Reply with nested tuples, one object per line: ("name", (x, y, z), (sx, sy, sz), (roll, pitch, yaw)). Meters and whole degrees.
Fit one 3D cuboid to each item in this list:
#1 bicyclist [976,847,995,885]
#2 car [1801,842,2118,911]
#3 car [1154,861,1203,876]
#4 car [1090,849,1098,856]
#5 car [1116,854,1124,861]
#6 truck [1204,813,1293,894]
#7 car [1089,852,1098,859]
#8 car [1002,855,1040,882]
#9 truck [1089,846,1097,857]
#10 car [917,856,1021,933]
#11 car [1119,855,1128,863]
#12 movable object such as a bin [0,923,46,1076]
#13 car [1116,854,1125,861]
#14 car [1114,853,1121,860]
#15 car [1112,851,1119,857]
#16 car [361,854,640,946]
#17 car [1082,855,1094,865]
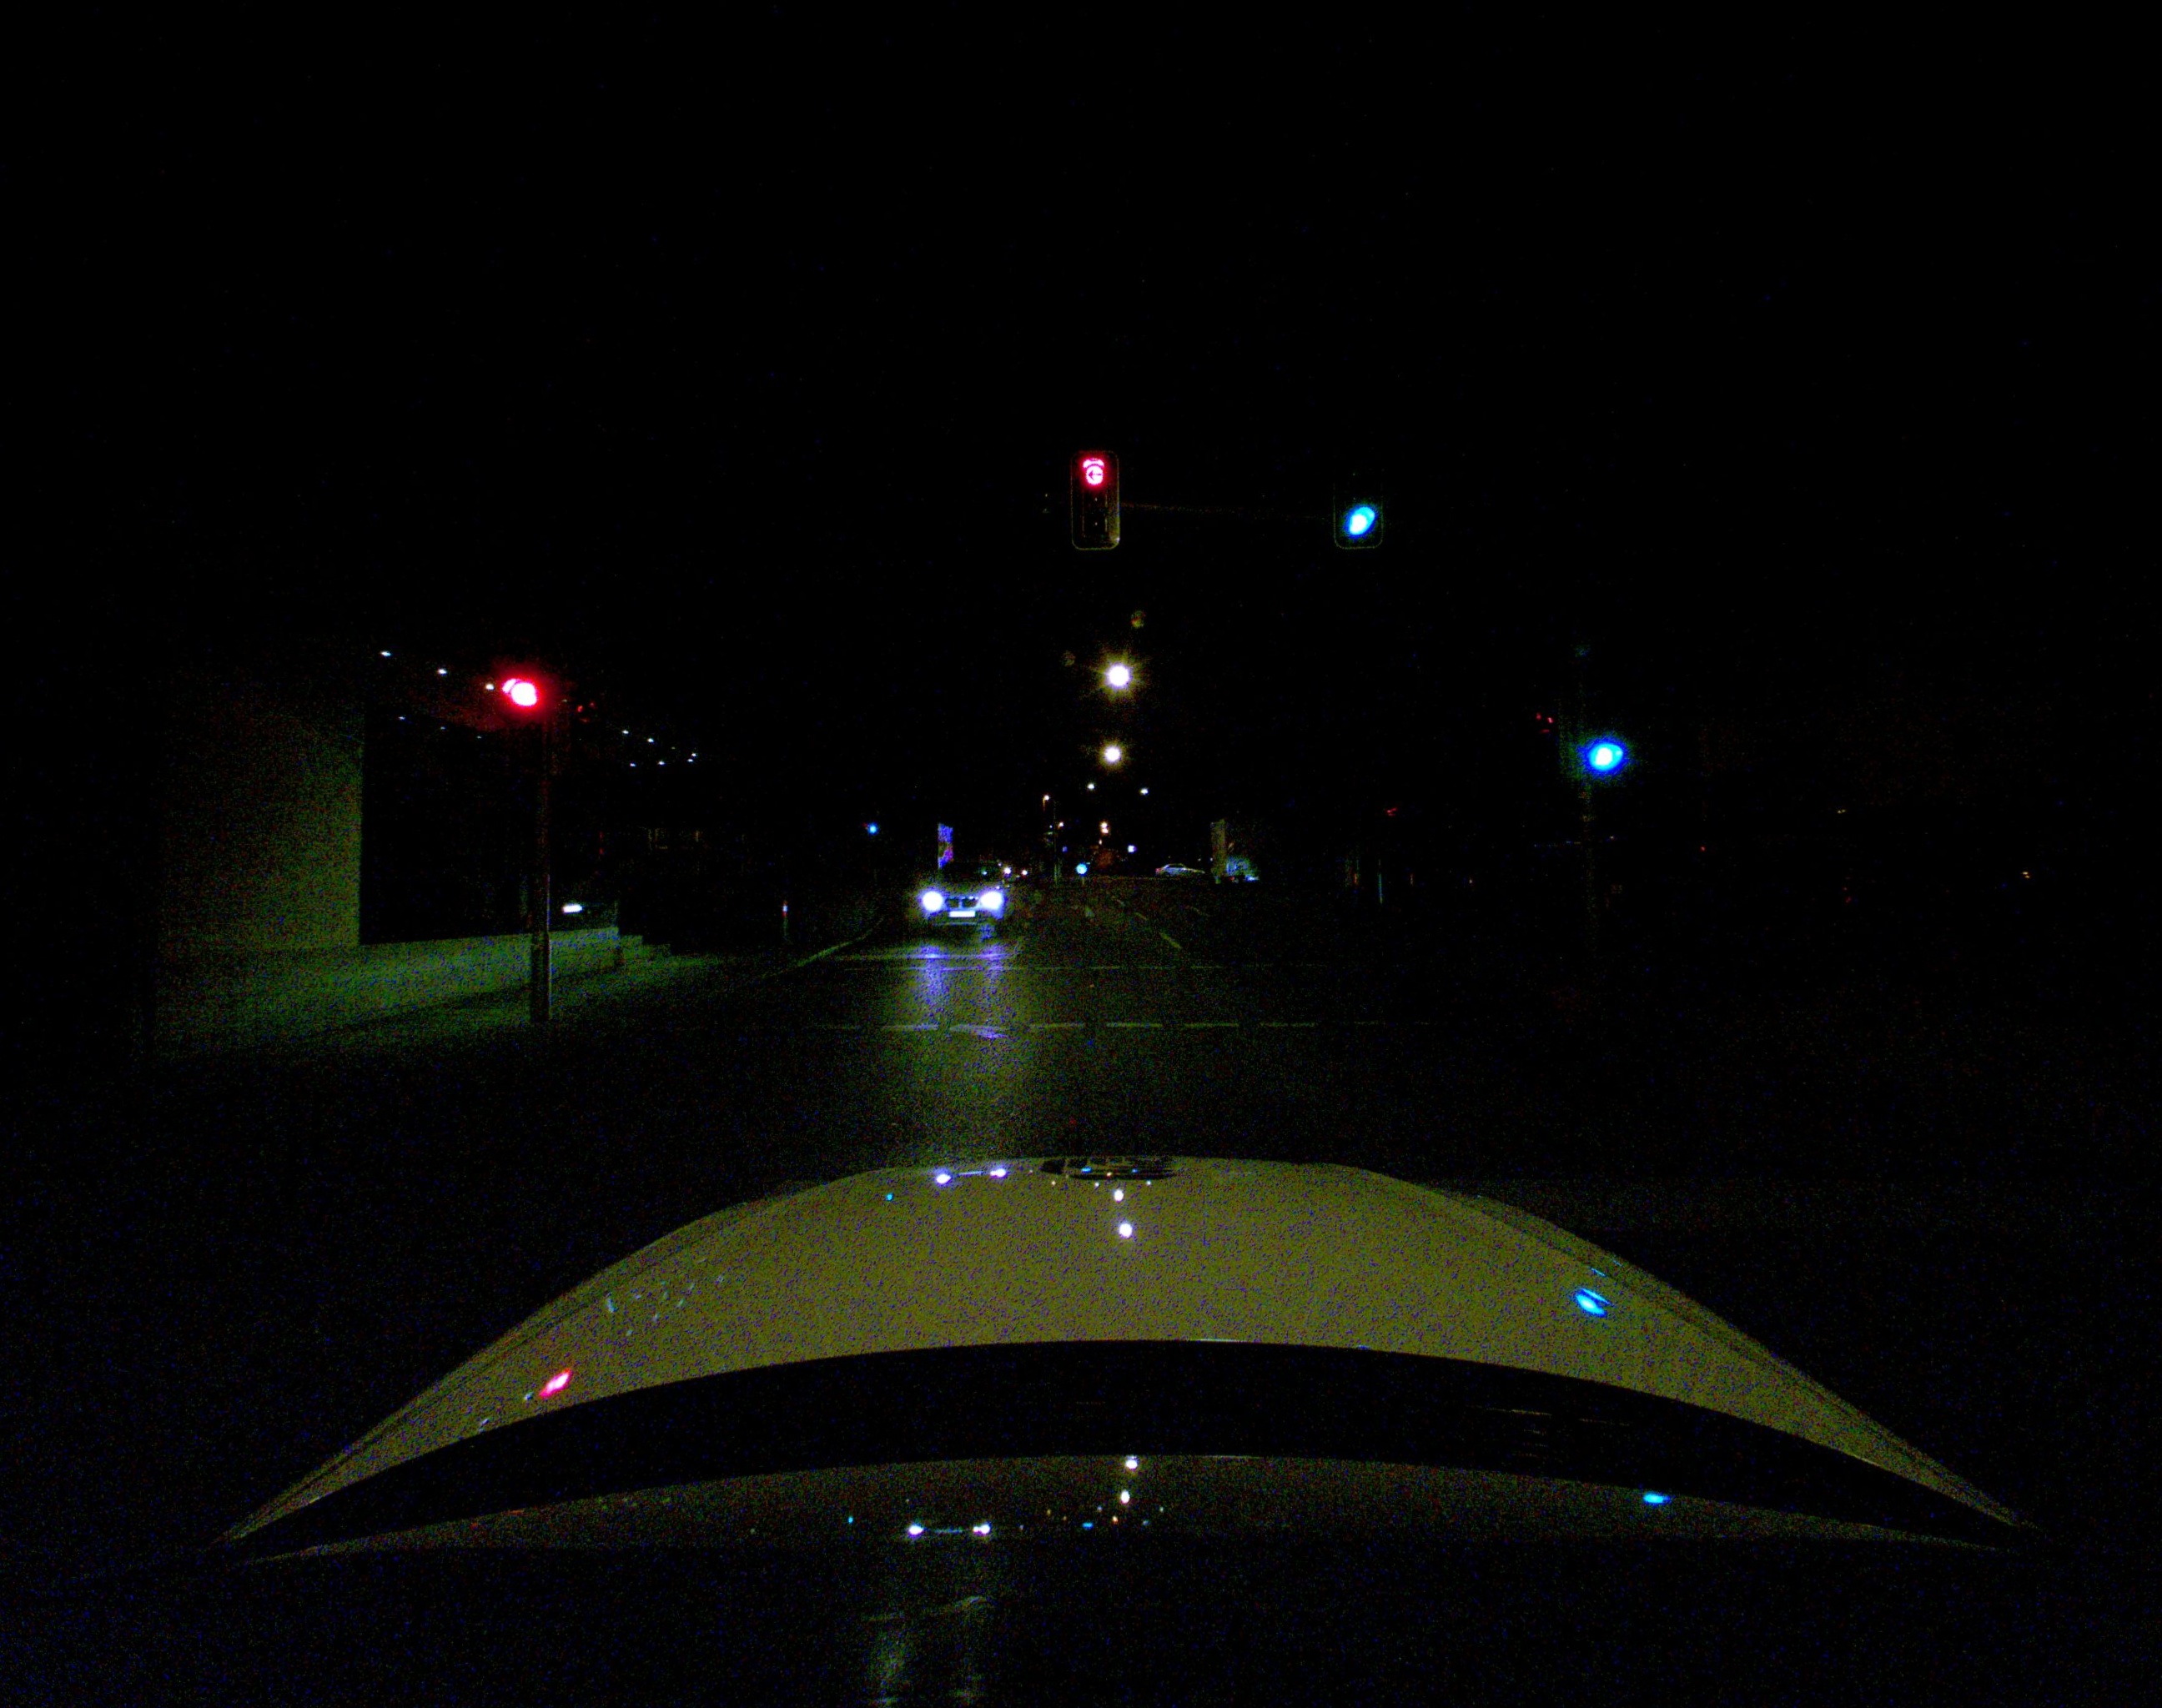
("bicyclist", (-4.226, 0.524, 35.930), (0.688, 1.637, 0.896), (-1, -1, 1))
("car", (17.320, 0.453, 16.274), (4.107, 1.280, 1.770), (-1, -1, 9))
("car", (9.285, 1.397, 77.458), (4.538, 1.388, 1.929), (0, 0, 11))
("car", (3.001, -0.331, 187.158), (1.809, 1.491, 4.000), (0, 0, 0))
("car", (7.609, 0.707, 159.332), (1.628, 1.452, 3.486), (0, 0, 2))
("truck", (6.936, -0.023, 34.529), (2.738, 3.110, 6.262), (0, 0, 2))
("car", (2.435, 0.311, 160.756), (1.809, 1.491, 4.000), (0, 0, 0))
("car", (-3.464, 0.813, 47.798), (1.573, 1.501, 3.403), (-1, 0, 7))
("truck", (3.143, -0.718, 209.811), (2.079, 2.848, 5.831), (0, 0, 0))
("car", (-2.393, 0.813, 18.333), (1.852, 1.534, 4.025), (0, 0, -1))
("car", (7.487, 0.821, 143.402), (1.628, 1.452, 3.486), (0, 0, 2))
("movable object such as a bin", (-7.929, 1.038, 5.706), (0.633, 1.049, 0.657), (-1, -1, 19))
("car", (7.473, 0.646, 153.146), (1.628, 1.452, 3.486), (0, 0, 2))
("car", (7.980, 0.523, 178.580), (1.628, 1.452, 3.486), (0, 0, 2))
("car", (8.187, -0.043, 191.560), (1.628, 1.452, 3.486), (0, 0, 2))
("car", (-10.905, 0.782, 15.643), (1.692, 1.519, 4.023), (-1, -1, 26))
("car", (1.197, 1.006, 134.630), (1.808, 1.684, 4.002), (0, 0, 2))
